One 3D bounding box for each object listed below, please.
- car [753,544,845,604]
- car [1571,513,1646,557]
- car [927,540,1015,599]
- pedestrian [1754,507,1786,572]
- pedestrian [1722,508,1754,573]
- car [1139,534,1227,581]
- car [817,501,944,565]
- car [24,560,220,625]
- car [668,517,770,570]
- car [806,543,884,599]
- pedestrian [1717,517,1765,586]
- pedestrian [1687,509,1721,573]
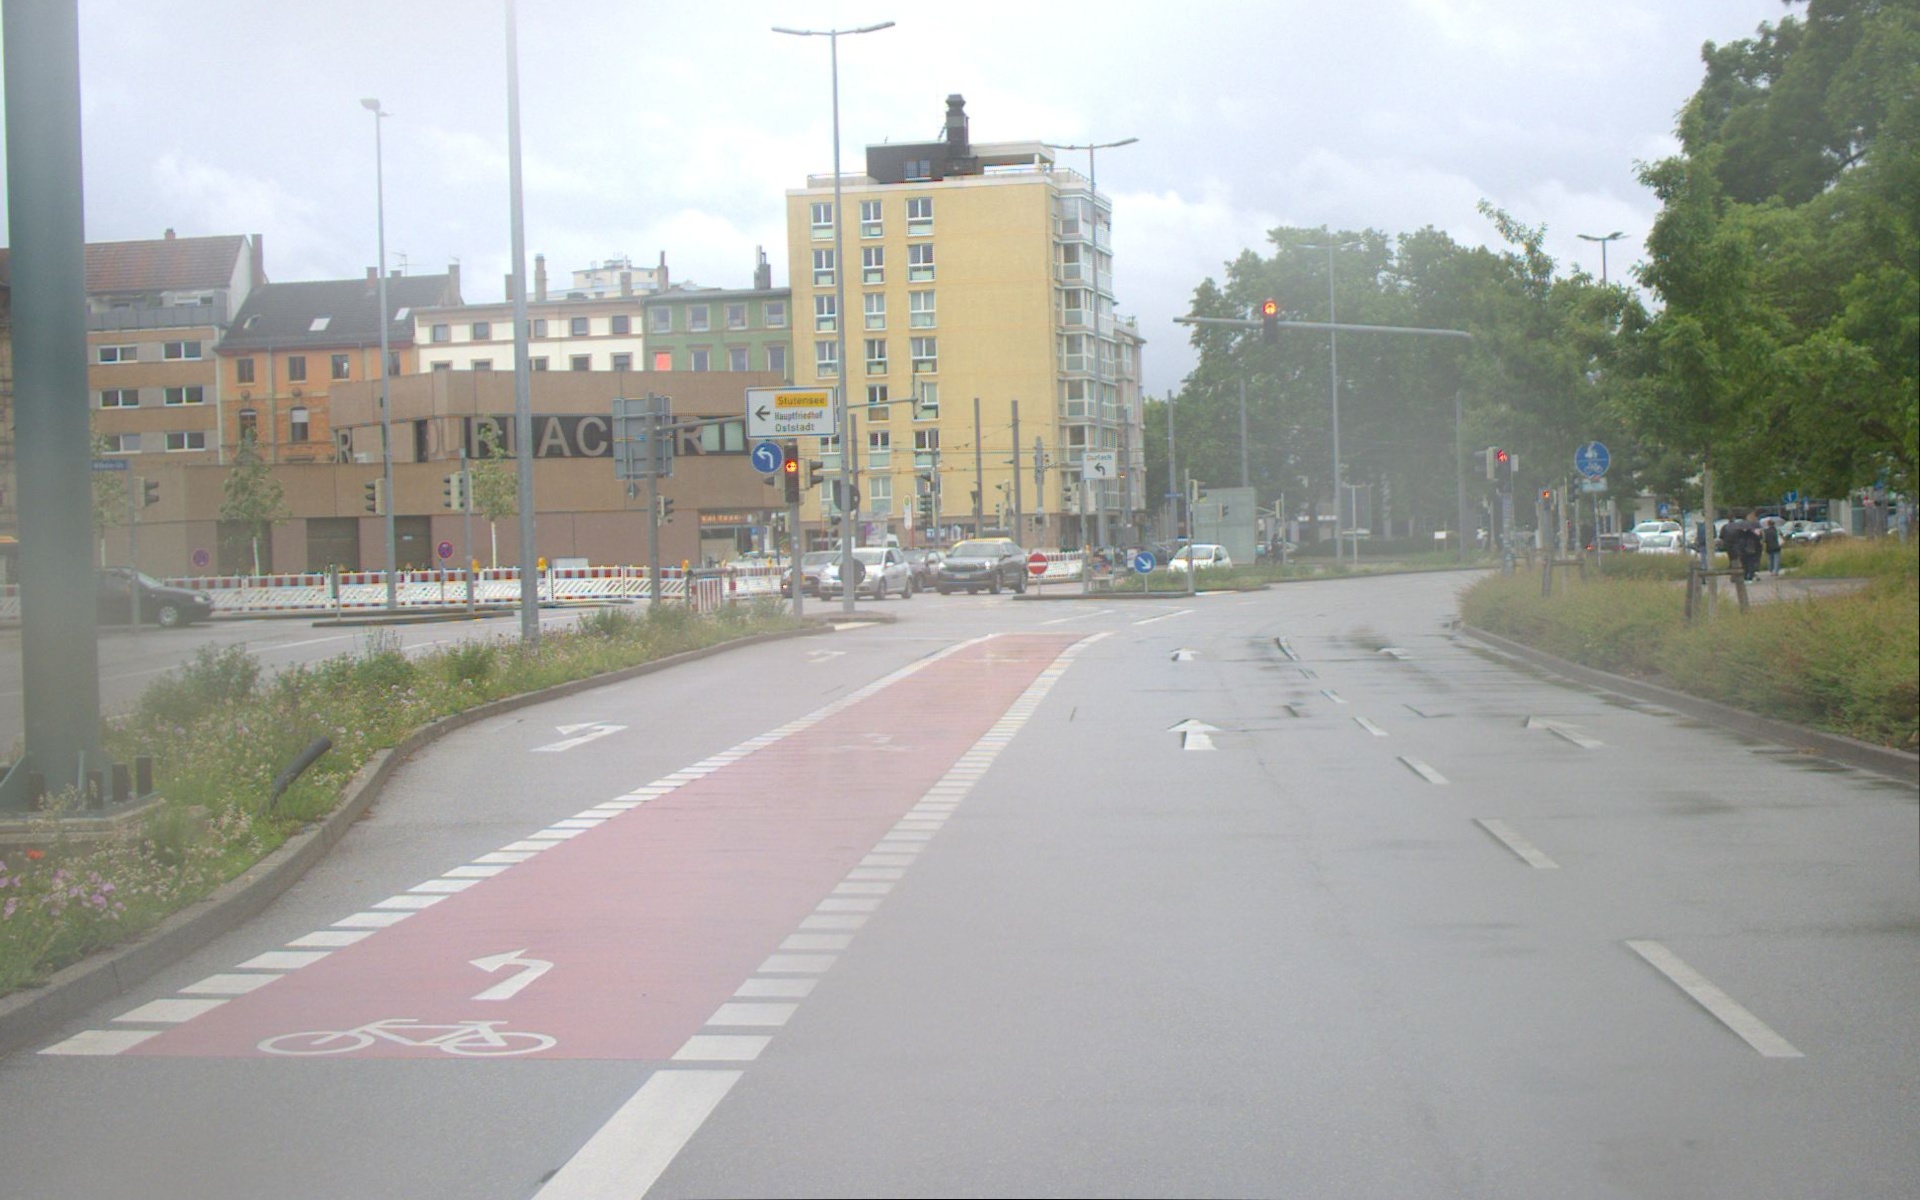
[{"bbox_3d":[-4.862,-0.811,104.439,1.706,1.700,3.818,-1,1,14],"label":"car"},{"bbox_3d":[25.816,-2.602,136.702,1.792,1.637,4.153,-1,1,27],"label":"car"},{"bbox_3d":[0.359,-0.959,106.096,1.994,1.630,4.601,-3,1,8],"label":"car"},{"bbox_3d":[20.204,-1.511,85.738,0.703,1.582,0.936,-1,1,16],"label":"pedestrian"},{"bbox_3d":[19.469,-1.491,86.026,0.703,1.582,0.936,-1,1,16],"label":"pedestrian"},{"bbox_3d":[7.870,-1.503,121.140,1.681,1.496,3.863,-2,1,26],"label":"car"},{"bbox_3d":[-4.491,-3.787,194.888,6.743,3.368,2.808,-2,1,9],"label":"car"},{"bbox_3d":[-19.792,-0.186,81.285,4.191,1.397,1.618,-2,1,-1],"label":"car"},{"bbox_3d":[-13.742,-3.232,196.526,5.352,2.877,2.338,-2,1,9],"label":"car"},{"bbox_3d":[-3.165,-0.821,95.354,1.679,1.399,4.157,-3,1,4],"label":"car"},{"bbox_3d":[18.407,-1.146,81.056,1.023,1.582,0.936,-1,1,16],"label":"pedestrian"},{"bbox_3d":[18.741,-1.498,86.570,0.754,1.582,0.936,-1,1,16],"label":"pedestrian"}]
